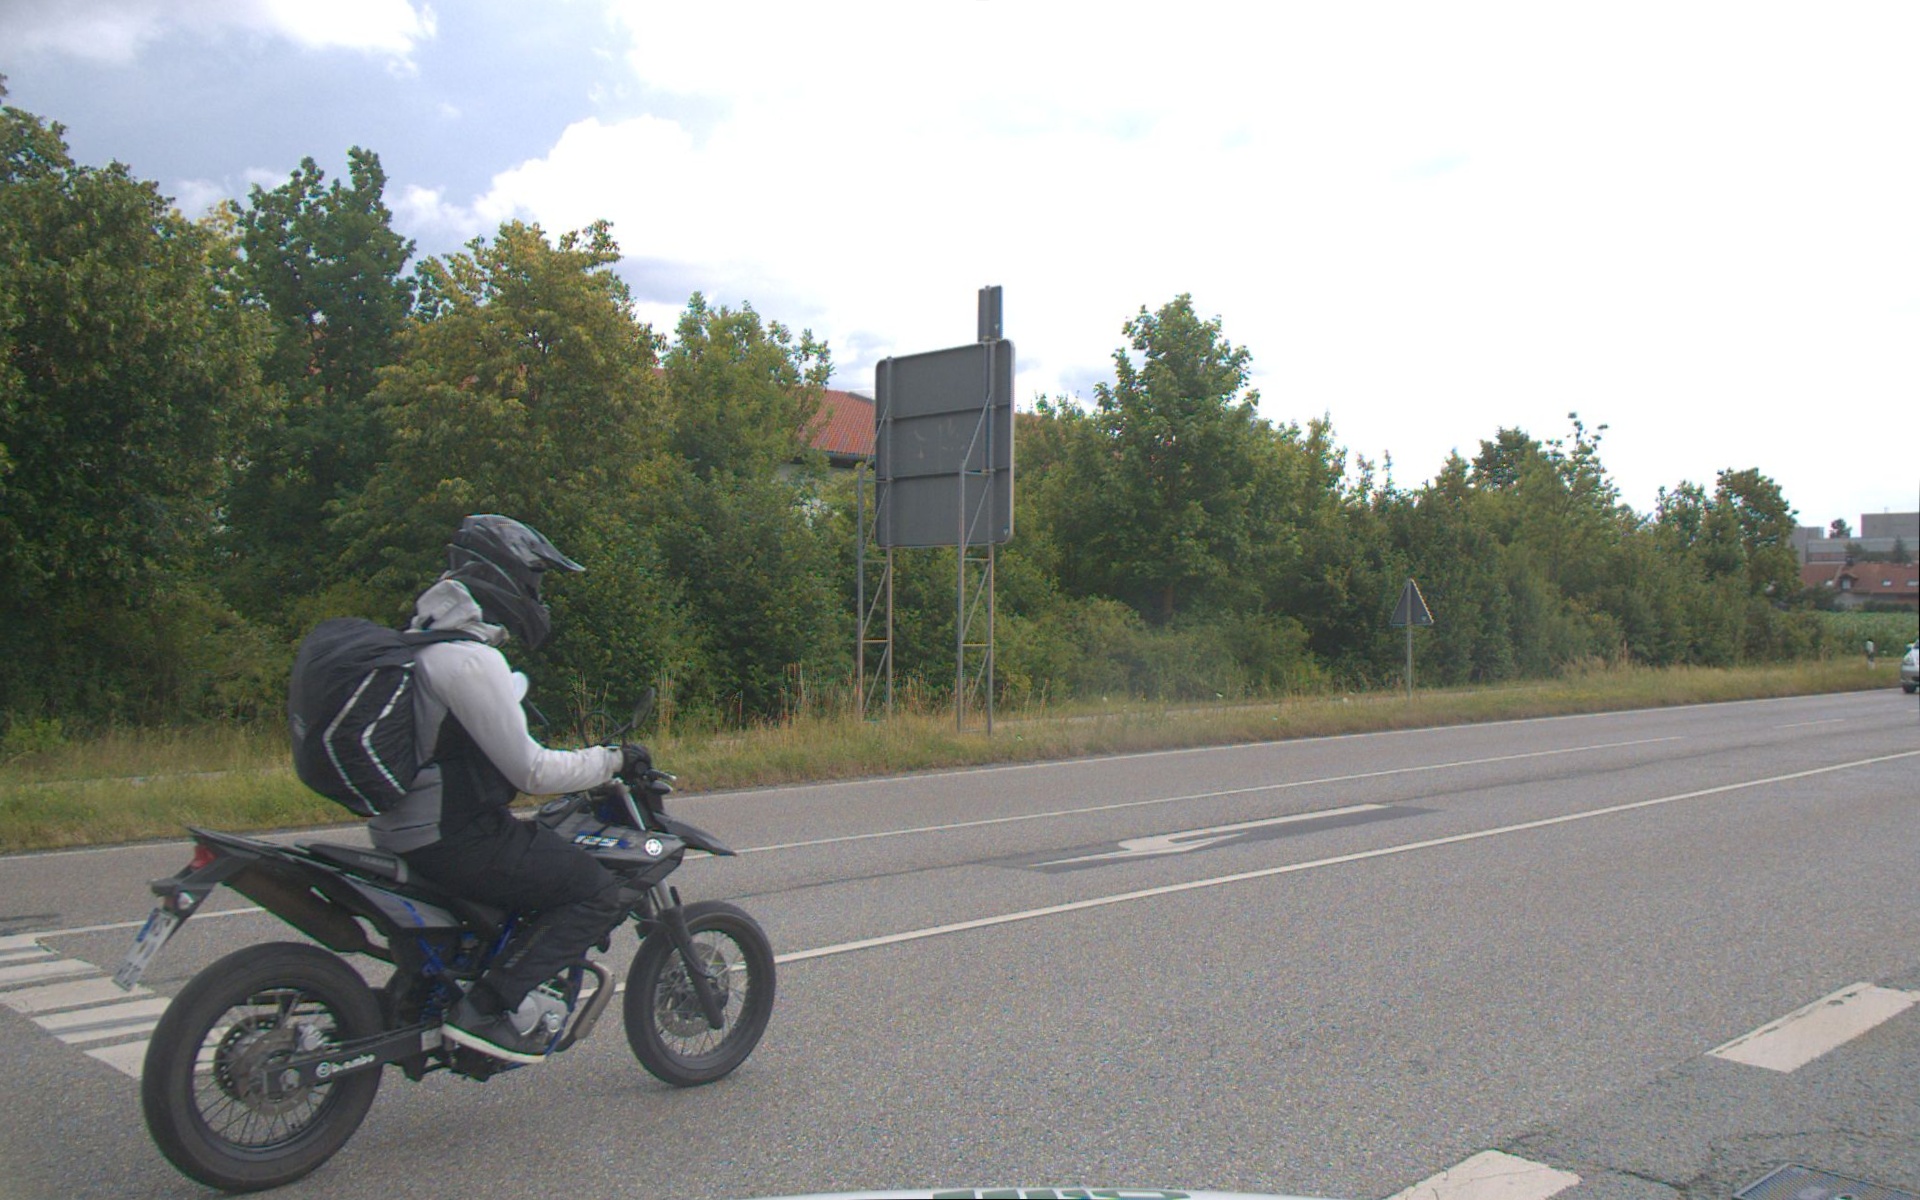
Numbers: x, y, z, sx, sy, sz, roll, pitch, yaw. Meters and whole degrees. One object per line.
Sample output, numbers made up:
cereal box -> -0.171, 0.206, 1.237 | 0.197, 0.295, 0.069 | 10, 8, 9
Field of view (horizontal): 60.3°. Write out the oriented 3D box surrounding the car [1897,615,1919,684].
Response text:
car -> 21.998, 1.032, 36.092 | 3.905, 1.457, 1.707 | 0, -2, -45

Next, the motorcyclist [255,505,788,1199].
motorcyclist -> -1.254, 0.662, 4.781 | 1.191, 1.780, 0.929 | 1, -1, -44

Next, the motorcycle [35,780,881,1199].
motorcycle -> -1.326, 1.077, 4.710 | 2.129, 0.905, 0.929 | 1, 0, -44
